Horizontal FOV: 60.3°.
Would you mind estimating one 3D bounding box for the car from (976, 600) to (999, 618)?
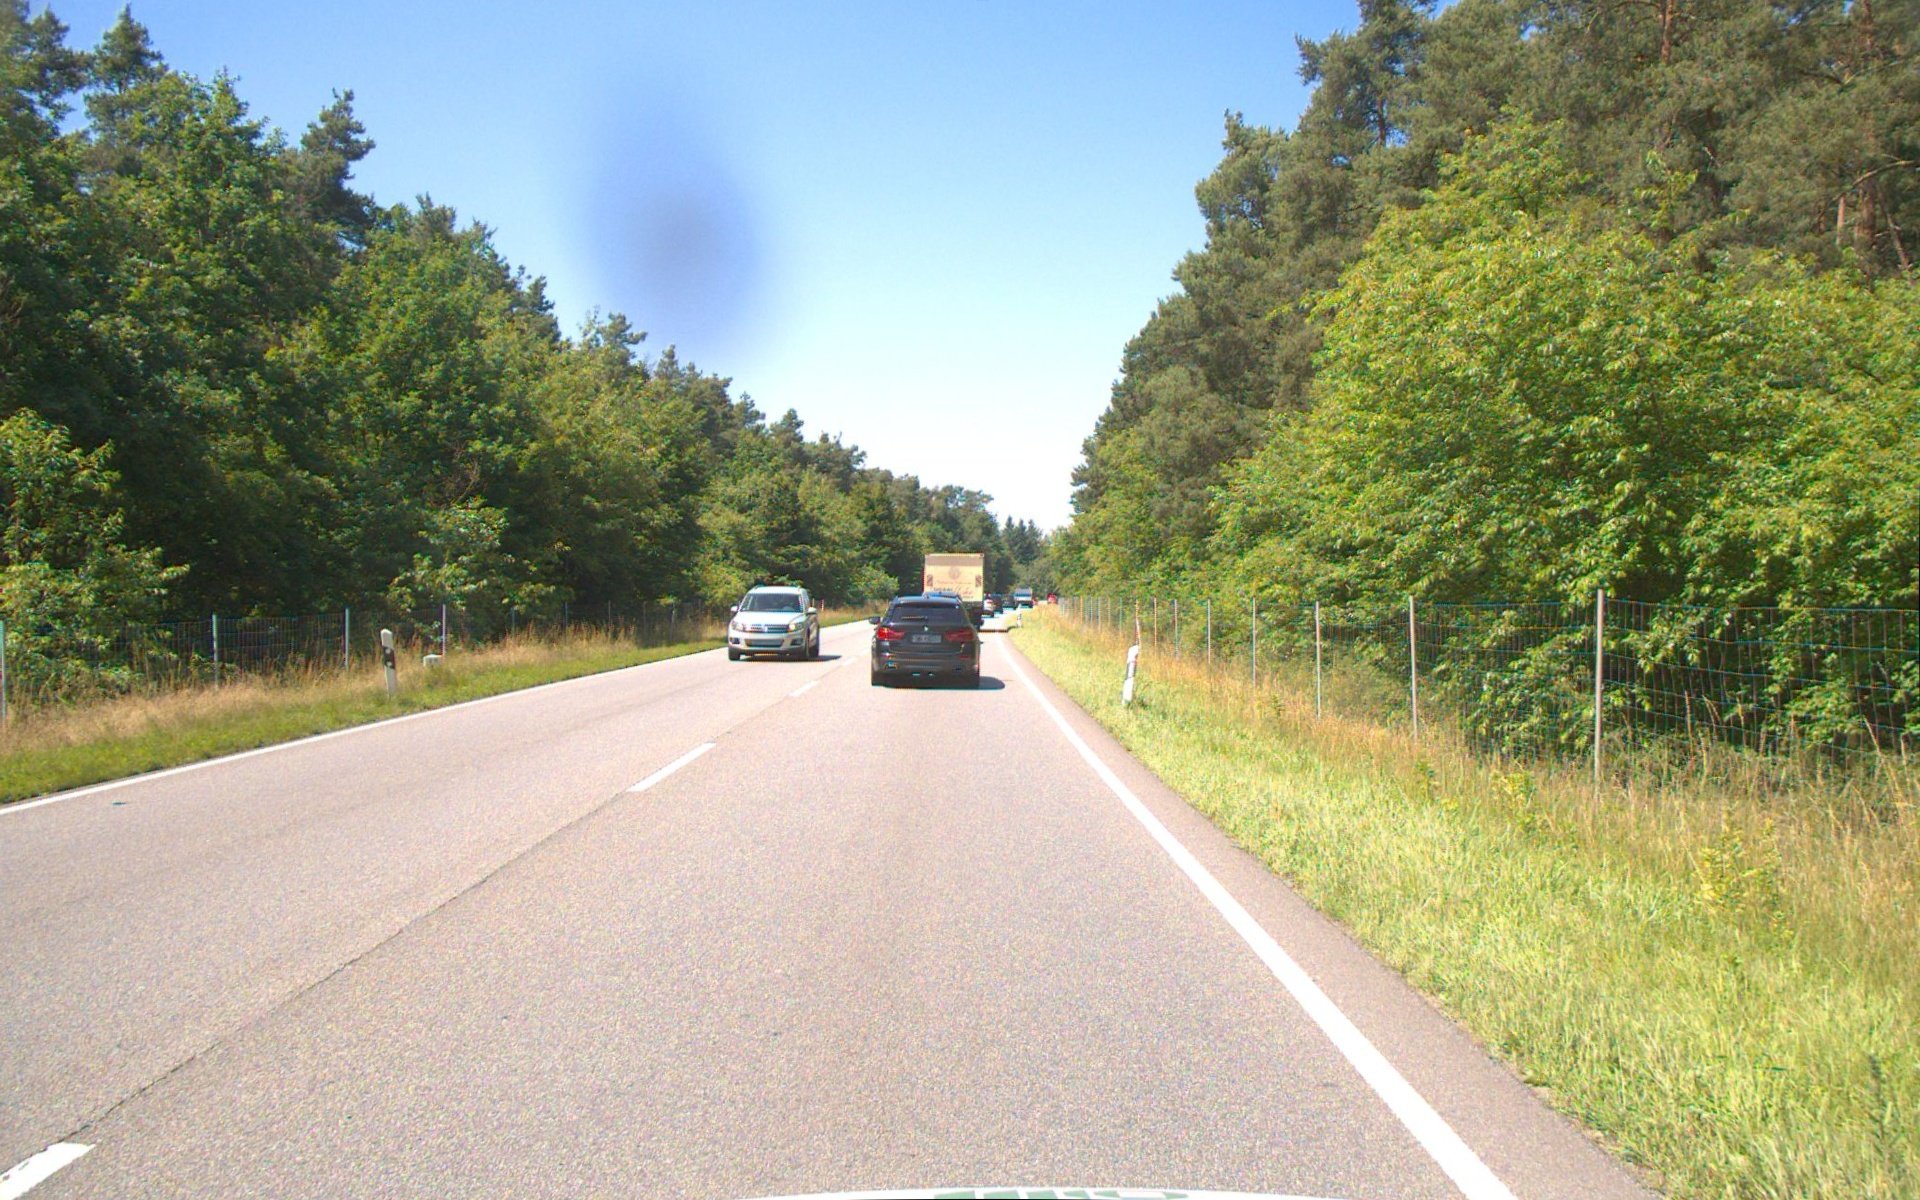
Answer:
[{"bbox_3d":[2.340,0.770,141.161,1.952,1.445,4.000,-1,0,0],"label":"car"}]

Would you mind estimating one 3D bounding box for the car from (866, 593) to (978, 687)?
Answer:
[{"bbox_3d":[-0.660,0.638,28.474,1.784,1.496,3.999,0,0,-2],"label":"car"}]

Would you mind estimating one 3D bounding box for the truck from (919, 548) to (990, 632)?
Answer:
[{"bbox_3d":[-0.296,-0.426,72.072,2.905,3.447,6.436,-1,0,-1],"label":"truck"}]

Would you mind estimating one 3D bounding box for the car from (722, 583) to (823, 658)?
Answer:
[{"bbox_3d":[-4.278,0.427,38.288,1.824,1.657,4.093,0,0,1],"label":"car"}]

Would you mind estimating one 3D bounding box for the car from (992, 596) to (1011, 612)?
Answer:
[{"bbox_3d":[4.470,0.406,177.477,1.952,1.665,4.002,-1,0,4],"label":"car"}]

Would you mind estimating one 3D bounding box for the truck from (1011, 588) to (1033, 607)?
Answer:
[{"bbox_3d":[7.661,-0.324,203.394,2.510,2.240,4.977,0,1,4],"label":"truck"}]

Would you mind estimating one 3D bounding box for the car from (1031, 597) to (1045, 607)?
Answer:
[{"bbox_3d":[10.985,0.210,233.257,1.756,1.378,3.932,0,0,7],"label":"car"}]

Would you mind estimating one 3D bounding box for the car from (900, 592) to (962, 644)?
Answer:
[{"bbox_3d":[-0.905,0.555,53.560,1.907,1.569,4.000,-1,0,0],"label":"car"}]

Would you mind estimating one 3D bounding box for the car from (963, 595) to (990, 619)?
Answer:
[{"bbox_3d":[1.140,0.484,116.001,1.825,1.633,4.000,0,0,0],"label":"car"}]
